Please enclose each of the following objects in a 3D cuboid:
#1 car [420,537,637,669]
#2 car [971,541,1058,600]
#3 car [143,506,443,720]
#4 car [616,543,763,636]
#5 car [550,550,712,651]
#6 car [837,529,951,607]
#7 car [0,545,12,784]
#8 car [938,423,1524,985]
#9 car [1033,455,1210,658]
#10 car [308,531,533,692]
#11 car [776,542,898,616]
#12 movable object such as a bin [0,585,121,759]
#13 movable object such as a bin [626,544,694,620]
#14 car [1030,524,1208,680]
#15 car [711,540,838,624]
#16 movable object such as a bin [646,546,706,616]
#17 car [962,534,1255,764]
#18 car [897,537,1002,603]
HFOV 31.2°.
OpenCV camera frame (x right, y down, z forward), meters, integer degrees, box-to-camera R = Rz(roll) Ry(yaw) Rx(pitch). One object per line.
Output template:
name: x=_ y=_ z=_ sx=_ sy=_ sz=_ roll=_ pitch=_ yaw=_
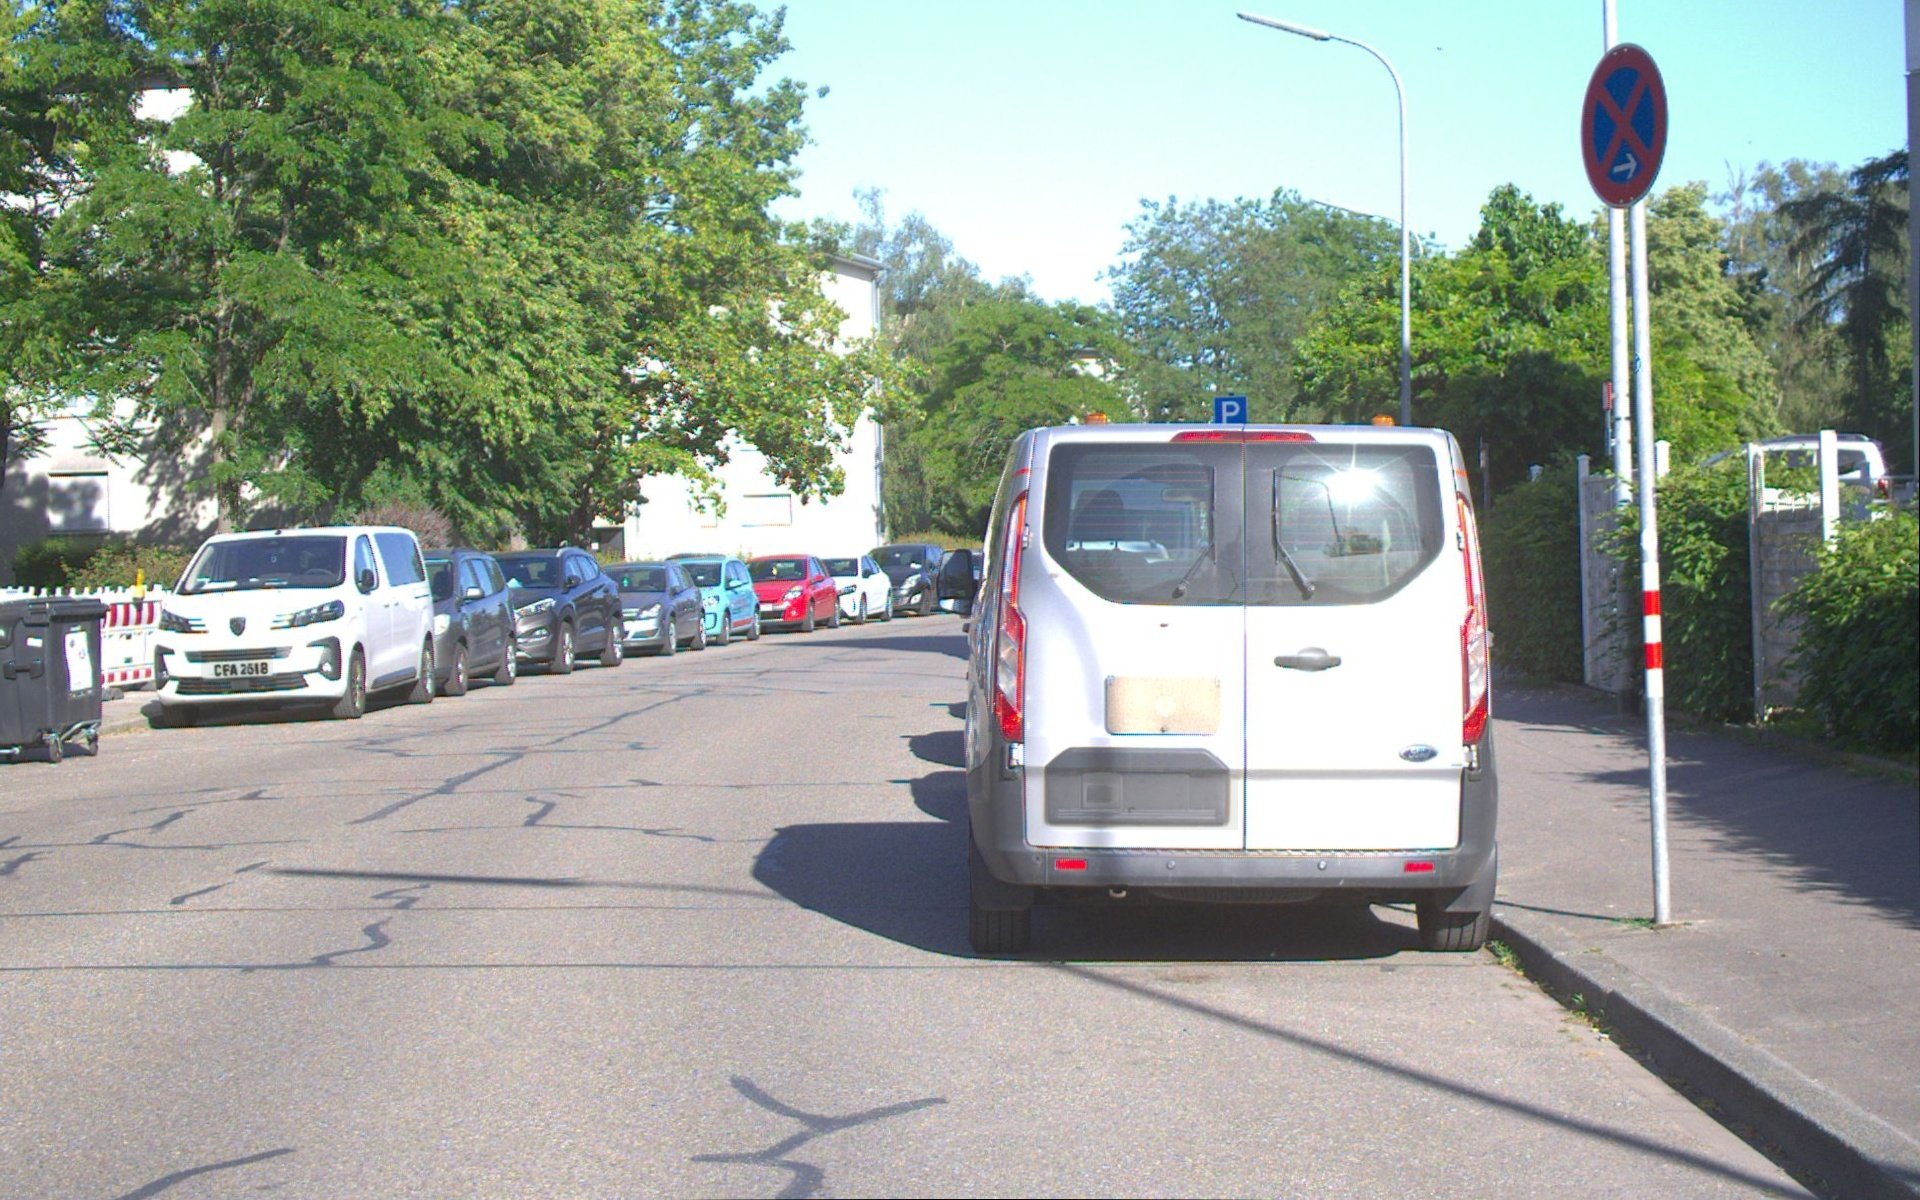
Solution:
car: x=-5.669 y=-0.002 z=45.654 sx=1.749 sy=1.612 sz=4.361 roll=-1 pitch=1 yaw=8
car: x=1.432 y=-0.769 z=88.753 sx=1.661 sy=1.421 sz=4.048 roll=-3 pitch=1 yaw=8
car: x=-6.579 y=0.073 z=34.427 sx=1.863 sy=1.954 sz=4.670 roll=-1 pitch=1 yaw=3
car: x=-4.543 y=-0.200 z=58.283 sx=1.671 sy=1.469 sz=3.677 roll=-2 pitch=1 yaw=8
car: x=-5.042 y=-0.015 z=53.154 sx=1.671 sy=1.432 sz=3.999 roll=-2 pitch=1 yaw=6
car: x=-1.451 y=-0.737 z=77.255 sx=1.671 sy=1.661 sz=4.404 roll=-2 pitch=1 yaw=10
car: x=-7.465 y=0.514 z=21.596 sx=1.674 sy=1.633 sz=4.250 roll=-2 pitch=1 yaw=1
car: x=0.943 y=0.326 z=14.367 sx=1.993 sy=1.906 sz=4.954 roll=-1 pitch=1 yaw=0
car: x=2.198 y=-0.581 z=45.291 sx=2.105 sy=2.477 sz=5.855 roll=1 pitch=1 yaw=5
car: x=-6.159 y=0.084 z=39.661 sx=1.556 sy=1.716 sz=4.340 roll=-1 pitch=1 yaw=5
car: x=-2.504 y=-0.451 z=70.716 sx=1.671 sy=1.416 sz=3.899 roll=-2 pitch=1 yaw=10
movable object such as a bin: x=-7.375 y=0.563 z=27.542 sx=0.803 sy=1.311 sz=1.321 roll=-1 pitch=2 yaw=8
movable object such as a bin: x=-6.119 y=-0.375 z=70.226 sx=1.111 sy=1.493 sz=1.408 roll=-1 pitch=1 yaw=6
car: x=1.804 y=-0.008 z=39.652 sx=1.910 sy=1.660 sz=4.375 roll=-1 pitch=1 yaw=2
car: x=-3.477 y=-0.360 z=65.049 sx=1.671 sy=1.469 sz=3.677 roll=-2 pitch=1 yaw=8
movable object such as a bin: x=-5.930 y=-0.410 z=71.824 sx=0.988 sy=1.414 sz=1.314 roll=-1 pitch=1 yaw=6
car: x=1.048 y=0.292 z=24.903 sx=1.910 sy=1.483 sz=4.375 roll=-1 pitch=1 yaw=2
car: x=-0.225 y=-0.750 z=83.442 sx=1.661 sy=1.481 sz=4.050 roll=-2 pitch=1 yaw=12
